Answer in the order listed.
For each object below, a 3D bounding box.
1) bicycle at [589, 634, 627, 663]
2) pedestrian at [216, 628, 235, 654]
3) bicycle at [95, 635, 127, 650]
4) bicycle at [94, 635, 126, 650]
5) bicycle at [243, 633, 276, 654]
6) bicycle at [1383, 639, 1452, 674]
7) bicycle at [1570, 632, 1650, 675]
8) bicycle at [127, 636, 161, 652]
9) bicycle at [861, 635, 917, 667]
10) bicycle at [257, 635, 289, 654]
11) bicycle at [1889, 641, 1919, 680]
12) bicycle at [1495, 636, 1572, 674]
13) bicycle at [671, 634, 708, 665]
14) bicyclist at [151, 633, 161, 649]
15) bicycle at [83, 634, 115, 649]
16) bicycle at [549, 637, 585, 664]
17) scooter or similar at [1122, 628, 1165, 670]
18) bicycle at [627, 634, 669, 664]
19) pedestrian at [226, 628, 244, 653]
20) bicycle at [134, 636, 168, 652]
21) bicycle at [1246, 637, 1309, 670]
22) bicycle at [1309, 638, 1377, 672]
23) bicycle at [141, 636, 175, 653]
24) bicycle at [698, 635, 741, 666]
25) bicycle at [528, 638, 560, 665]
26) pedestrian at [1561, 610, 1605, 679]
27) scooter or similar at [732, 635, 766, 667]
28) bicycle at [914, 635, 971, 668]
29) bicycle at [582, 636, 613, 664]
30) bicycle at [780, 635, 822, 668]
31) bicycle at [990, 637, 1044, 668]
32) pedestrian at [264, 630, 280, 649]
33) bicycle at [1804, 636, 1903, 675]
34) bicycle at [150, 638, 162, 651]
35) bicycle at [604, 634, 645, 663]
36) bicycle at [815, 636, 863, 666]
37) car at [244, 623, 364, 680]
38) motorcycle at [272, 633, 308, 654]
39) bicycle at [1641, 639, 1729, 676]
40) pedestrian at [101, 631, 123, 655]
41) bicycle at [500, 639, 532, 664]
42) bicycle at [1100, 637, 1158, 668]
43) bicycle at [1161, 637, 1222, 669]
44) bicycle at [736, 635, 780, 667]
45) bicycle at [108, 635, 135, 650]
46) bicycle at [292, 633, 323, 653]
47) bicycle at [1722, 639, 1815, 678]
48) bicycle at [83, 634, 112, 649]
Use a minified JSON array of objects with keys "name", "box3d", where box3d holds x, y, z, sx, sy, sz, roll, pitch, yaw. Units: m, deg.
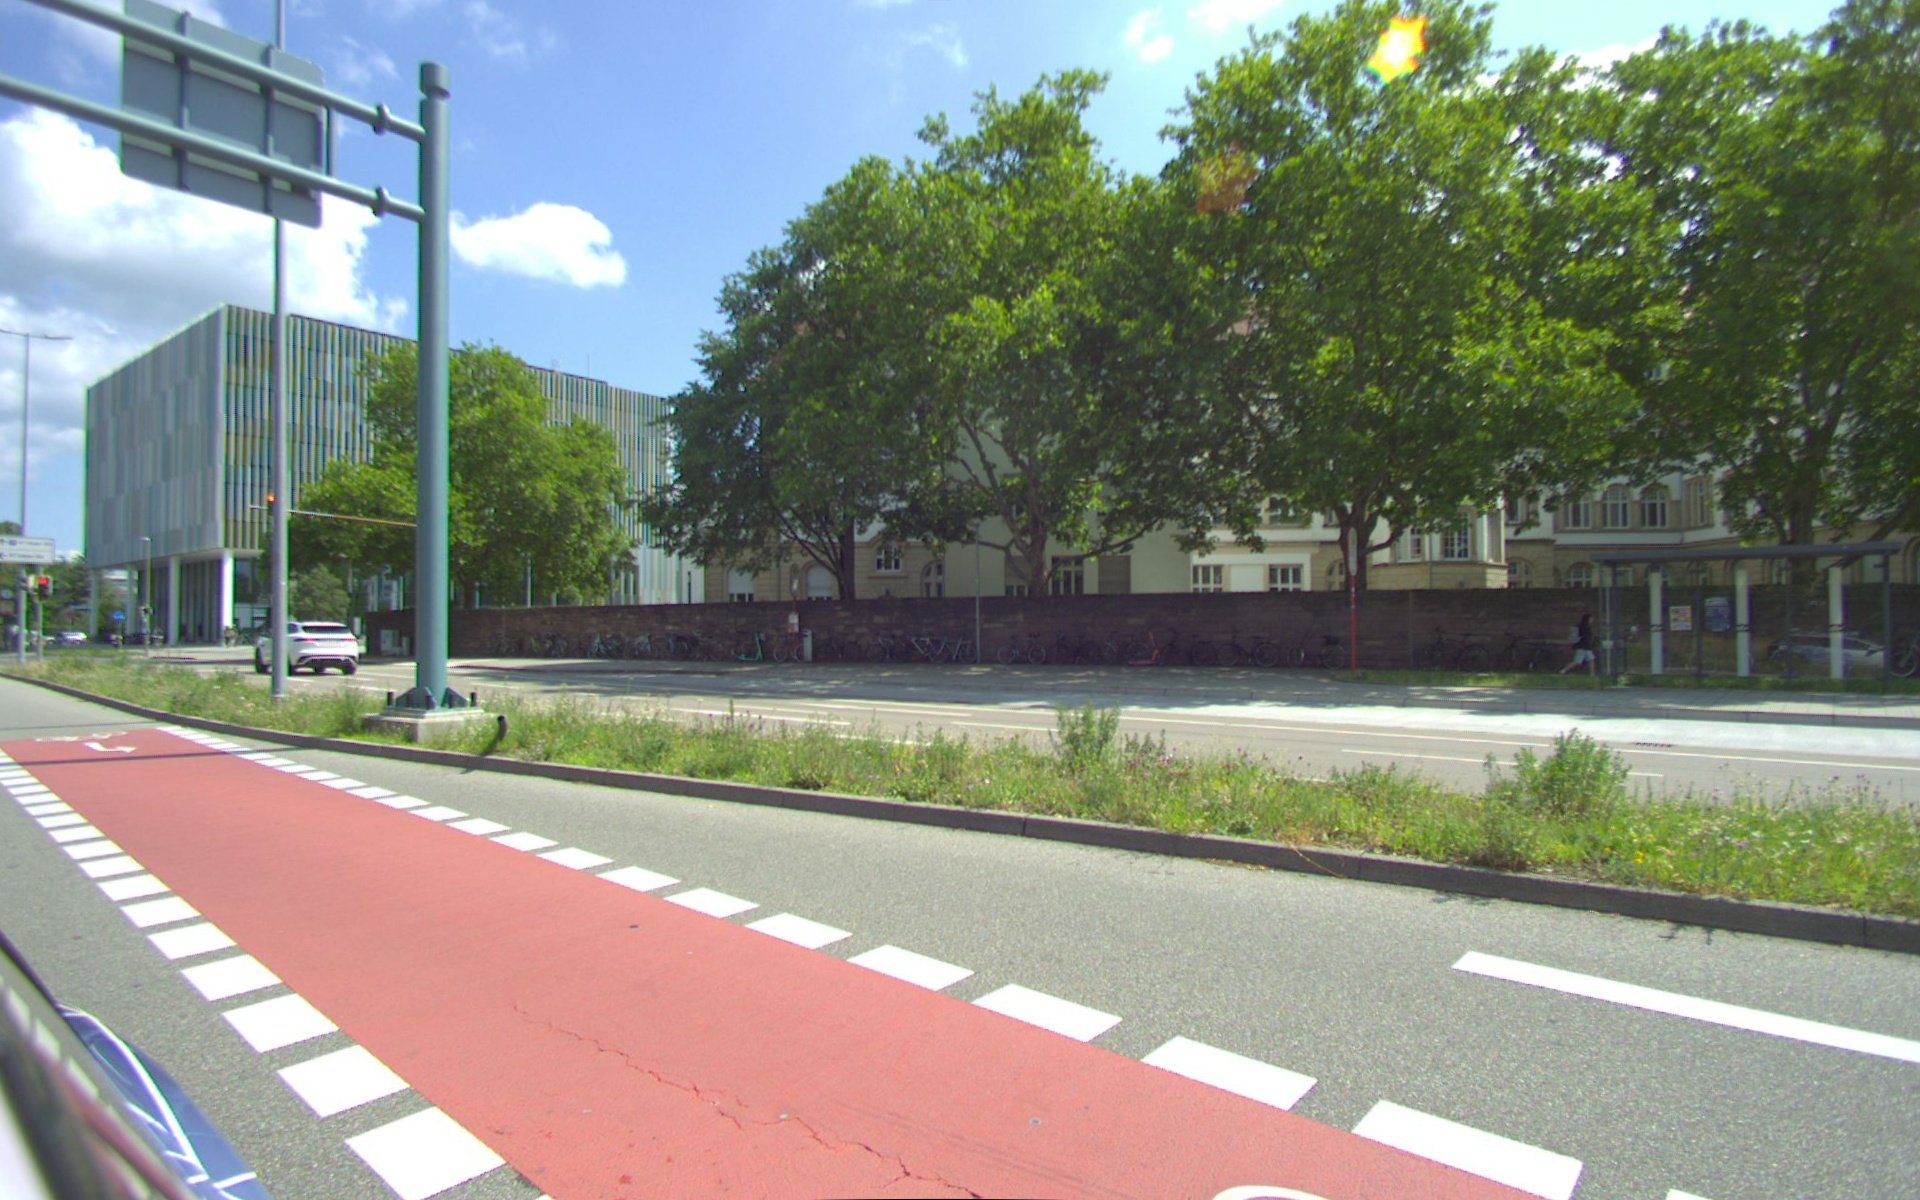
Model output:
[{"name":"bicycle","box3d":[-14.556,2.014,41.843,1.581,1.161,0.400,-1,-2,18]},{"name":"pedestrian","box3d":[-56.096,3.154,77.334,0.955,1.940,0.882,0,-2,-20]},{"name":"bicycle","box3d":[-88.044,4.393,104.967,0.621,1.506,2.479,-2,-2,41]},{"name":"bicycle","box3d":[-88.828,4.409,105.762,0.621,1.506,2.479,-2,-2,41]},{"name":"bicycle","box3d":[-57.611,3.577,83.270,0.797,1.656,3.420,0,-2,-8]},{"name":"bicycle","box3d":[12.374,1.513,27.378,1.656,0.909,0.540,-1,-2,26]},{"name":"bicycle","box3d":[16.443,1.352,25.642,1.614,1.059,0.541,-1,-2,24]},{"name":"bicycle","box3d":[-78.642,4.241,97.520,0.621,1.506,2.479,-2,-2,41]},{"name":"bicycle","box3d":[-2.428,1.743,34.631,1.941,1.055,0.540,-2,-2,29]},{"name":"bicycle","box3d":[-56.568,3.664,83.368,0.919,1.505,2.690,0,-1,-4]},{"name":"bicycle","box3d":[23.024,1.416,23.713,1.781,0.909,0.450,-1,-2,21]},{"name":"bicycle","box3d":[14.916,1.417,26.352,1.655,0.959,0.541,-1,-2,24]},{"name":"bicycle","box3d":[-10.538,1.932,39.444,1.587,1.161,0.398,-2,-2,30]},{"name":"bicyclist","box3d":[-60.119,3.063,75.675,0.609,1.235,0.835,1,-2,-39]},{"name":"bicycle","box3d":[-92.287,4.464,108.474,0.621,1.506,2.479,-2,-2,41]},{"name":"bicycle","box3d":[-16.975,2.170,43.693,1.589,1.161,0.616,-2,-2,33]},{"name":"scooter or similar","box3d":[5.390,1.442,29.784,1.184,1.192,0.430,-1,-2,20]},{"name":"bicycle","box3d":[-12.481,1.952,40.467,1.576,1.161,0.401,-1,-2,8]},{"name":"pedestrian","box3d":[-57.517,3.233,80.283,0.955,1.940,0.882,0,-2,-23]},{"name":"bicycle","box3d":[-78.851,4.265,98.667,0.621,1.506,2.479,-2,-2,41]},{"name":"bicycle","box3d":[9.044,1.530,28.855,1.656,0.909,0.540,-1,-2,26]},{"name":"bicycle","box3d":[10.556,1.519,27.937,1.663,0.909,0.497,-2,-2,38]},{"name":"bicycle","box3d":[-76.238,4.214,96.215,2.473,1.506,0.731,1,-2,-39]},{"name":"bicycle","box3d":[-9.132,1.902,38.425,1.582,1.161,0.530,-1,-2,19]},{"name":"bicycle","box3d":[-18.328,2.250,44.592,1.589,1.161,0.495,-2,-2,33]},{"name":"pedestrian","box3d":[15.039,1.065,24.442,0.752,1.629,0.612,-1,-1,20]},{"name":"scooter or similar","box3d":[-7.717,1.857,36.949,1.184,1.161,0.430,-1,-2,20]},{"name":"bicycle","box3d":[-0.581,1.696,33.481,1.887,1.055,0.540,-2,-2,29]},{"name":"bicycle","box3d":[-15.346,2.126,42.813,1.591,1.161,0.408,-2,-2,36]},{"name":"bicycle","box3d":[-5.747,1.855,36.616,1.587,1.151,0.429,-2,-2,29]},{"name":"bicycle","box3d":[1.803,1.654,32.077,1.658,0.956,0.540,-2,-2,29]},{"name":"pedestrian","box3d":[-64.028,3.687,94.225,0.997,1.720,1.214,0,-2,-24]},{"name":"bicycle","box3d":[21.312,1.329,24.182,1.653,0.909,0.541,-1,-2,21]},{"name":"bicycle","box3d":[-60.317,3.324,75.884,0.637,1.006,2.167,1,-2,-40]},{"name":"bicycle","box3d":[-13.623,1.964,41.059,1.576,1.161,0.401,-1,-2,8]},{"name":"bicycle","box3d":[-4.268,1.794,35.733,1.795,1.016,0.476,-2,-2,32]},{"name":"car","box3d":[-20.827,1.586,32.049,4.774,1.680,2.048,-2,-2,42]},{"name":"motorcycle","box3d":[-55.234,3.560,83.481,0.957,1.652,3.301,0,-2,-5]},{"name":"bicycle","box3d":[18.106,1.428,25.305,1.653,0.909,0.541,-1,-2,21]},{"name":"pedestrian","box3d":[-60.801,3.069,72.544,0.875,1.641,0.962,-1,-2,31]},{"name":"bicycle","box3d":[-20.142,2.316,45.879,1.589,1.107,0.567,-2,-2,33]},{"name":"bicycle","box3d":[5.109,1.578,30.681,1.658,0.909,0.540,-1,-2,29]},{"name":"bicycle","box3d":[6.804,1.557,29.810,1.658,0.909,0.540,-2,-2,29]},{"name":"bicycle","box3d":[-7.509,1.887,37.653,1.582,1.161,0.530,-1,-2,19]},{"name":"bicycle","box3d":[-85.837,4.365,103.611,0.621,1.506,2.044,-2,-2,41]},{"name":"bicycle","box3d":[-53.960,3.537,83.681,1.034,1.564,3.423,0,-2,-13]},{"name":"bicycle","box3d":[19.719,1.426,24.726,1.653,0.909,0.541,-1,-2,21]},{"name":"bicycle","box3d":[-93.200,4.483,109.385,0.656,1.506,2.273,-2,-2,41]}]
